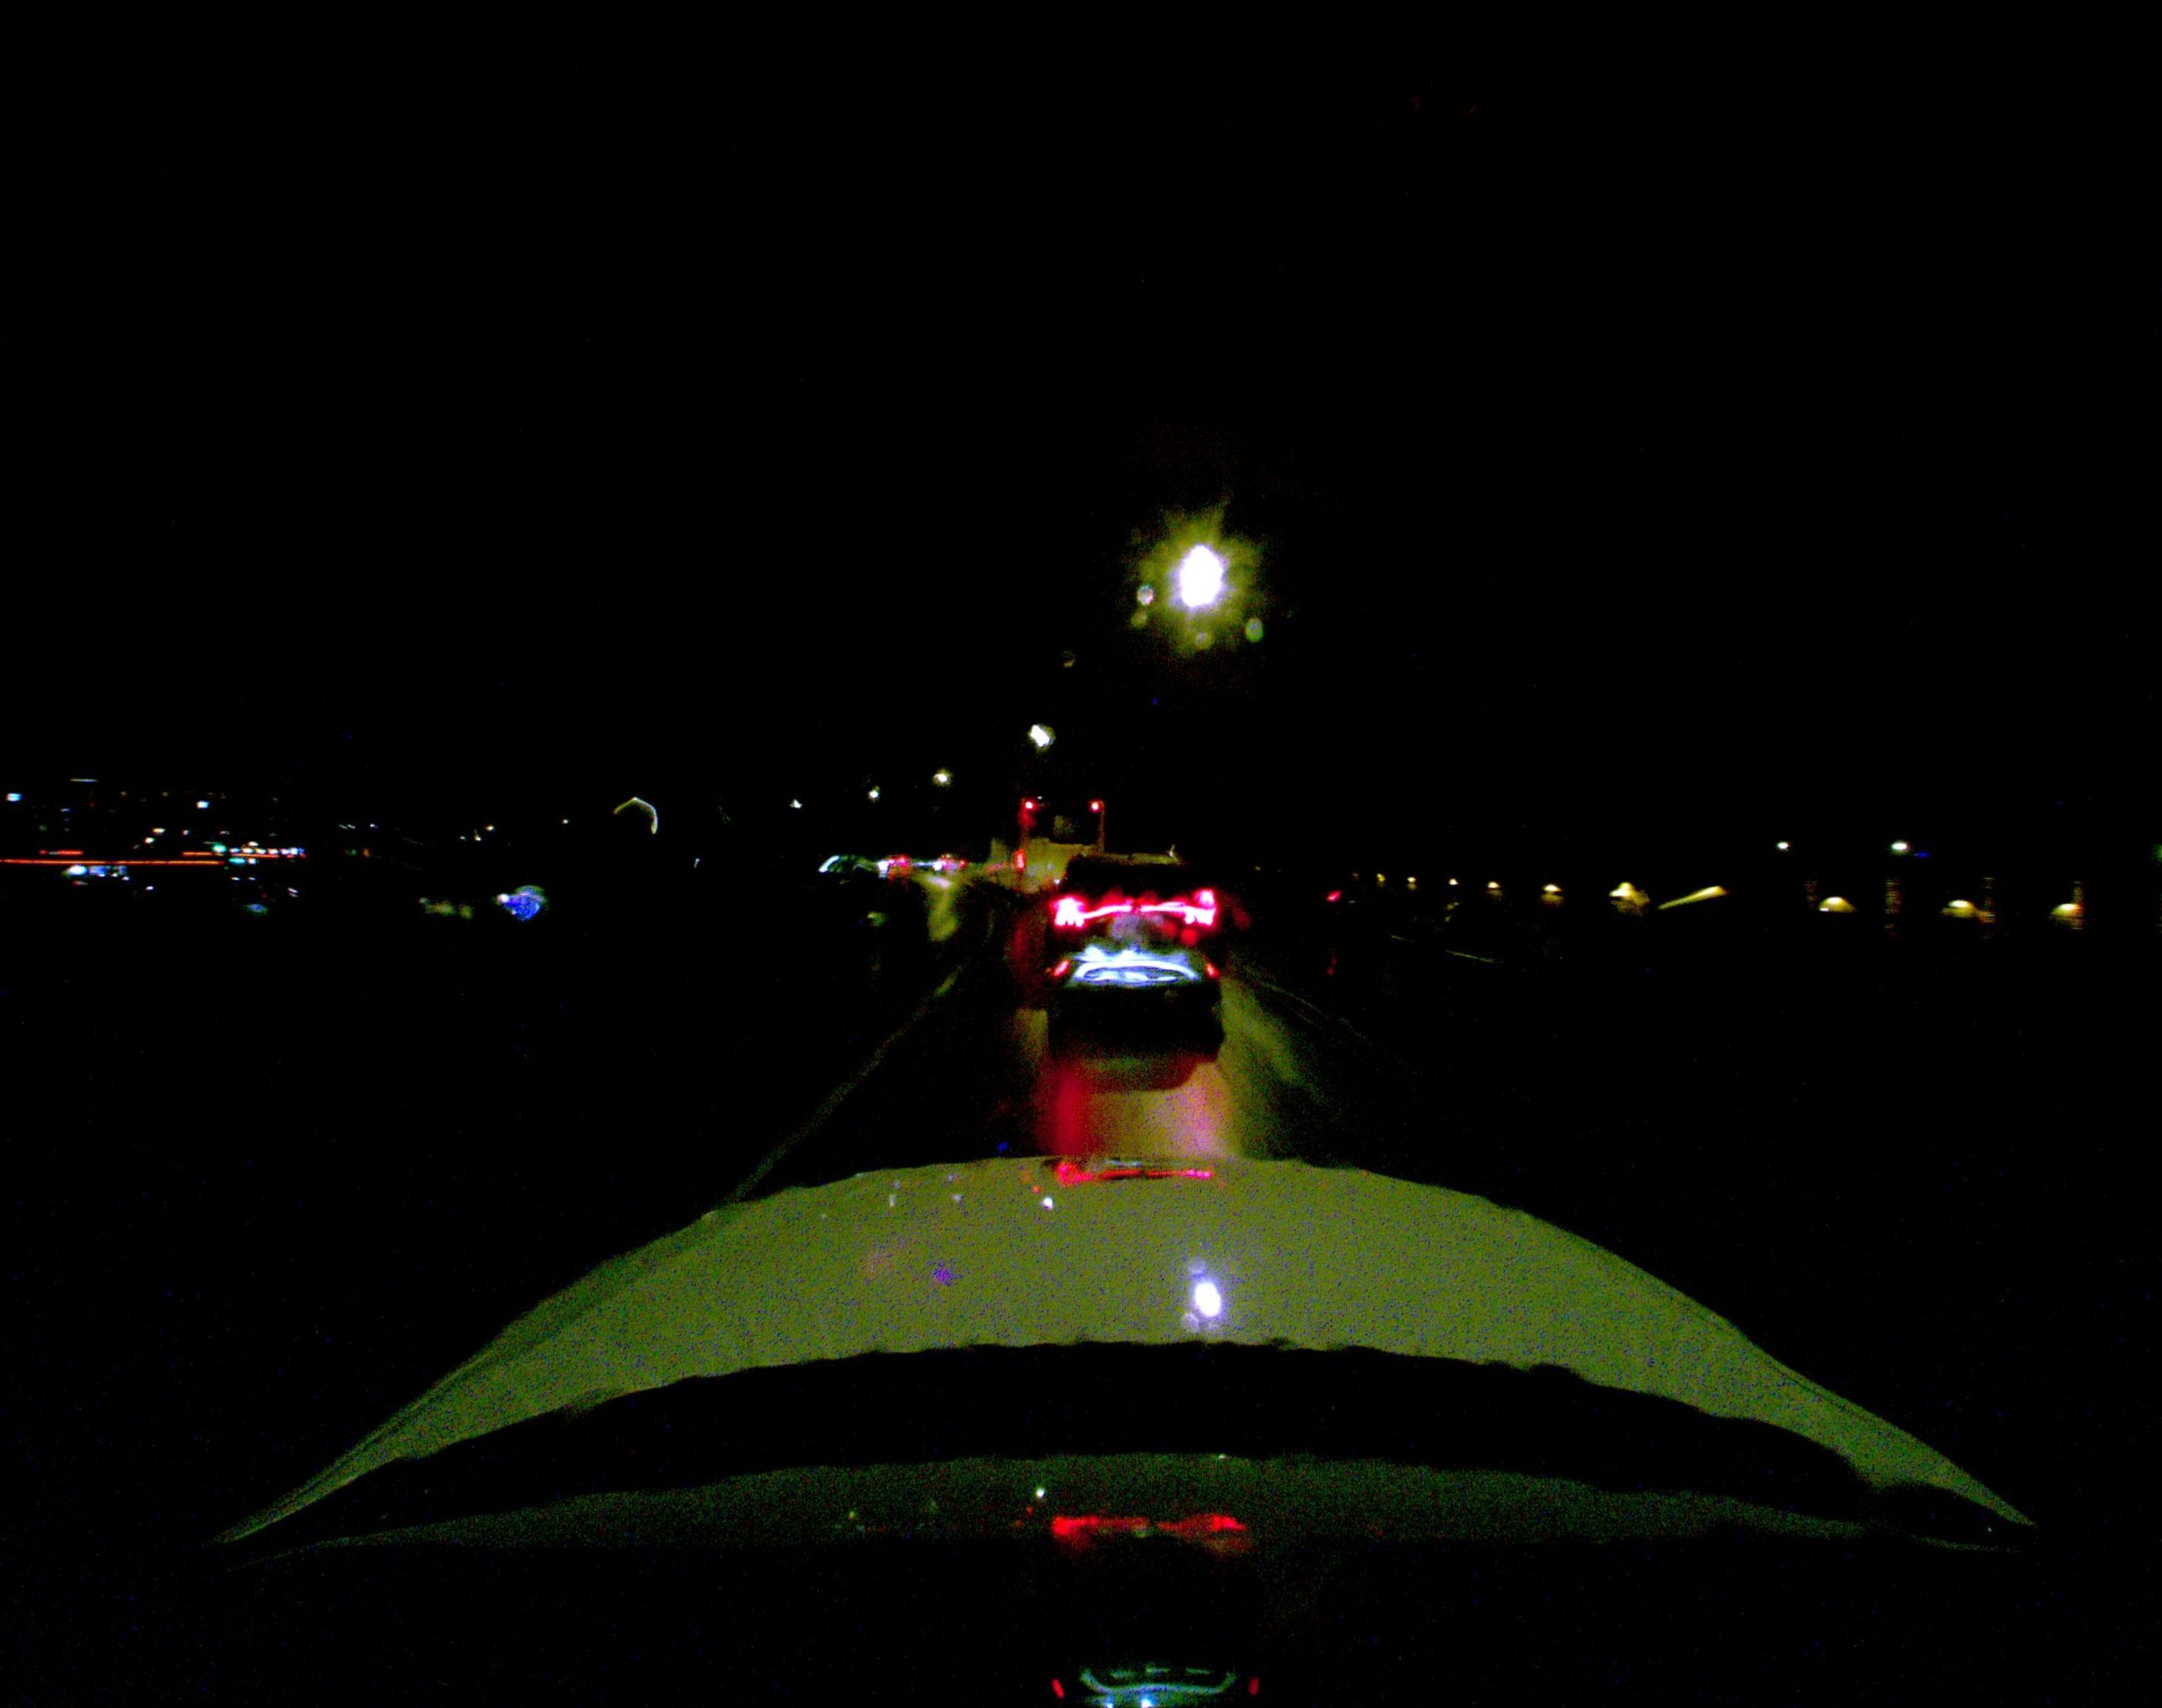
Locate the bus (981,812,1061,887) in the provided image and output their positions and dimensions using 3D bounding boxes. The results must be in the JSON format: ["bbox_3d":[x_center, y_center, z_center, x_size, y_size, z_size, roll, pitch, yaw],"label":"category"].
[{"bbox_3d":[-3.104,-0.152,39.520,3.048,3.132,8.051,2,-1,-10],"label":"bus"}]

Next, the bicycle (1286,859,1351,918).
[{"bbox_3d":[4.474,0.619,15.485,0.483,1.034,2.169,0,0,-4],"label":"bicycle"}]

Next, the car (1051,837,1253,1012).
[{"bbox_3d":[0.648,0.654,9.456,1.850,1.586,3.999,0,0,0],"label":"car"}]

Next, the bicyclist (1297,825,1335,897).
[{"bbox_3d":[4.461,0.129,15.495,0.451,1.349,0.763,1,0,-3],"label":"bicyclist"}]

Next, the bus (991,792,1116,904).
[{"bbox_3d":[-1.459,-0.204,29.248,3.082,3.132,12.660,-1,0,-8],"label":"bus"}]

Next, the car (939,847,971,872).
[{"bbox_3d":[-9.264,0.433,59.690,1.641,1.656,3.685,0,-3,-19],"label":"car"}]
